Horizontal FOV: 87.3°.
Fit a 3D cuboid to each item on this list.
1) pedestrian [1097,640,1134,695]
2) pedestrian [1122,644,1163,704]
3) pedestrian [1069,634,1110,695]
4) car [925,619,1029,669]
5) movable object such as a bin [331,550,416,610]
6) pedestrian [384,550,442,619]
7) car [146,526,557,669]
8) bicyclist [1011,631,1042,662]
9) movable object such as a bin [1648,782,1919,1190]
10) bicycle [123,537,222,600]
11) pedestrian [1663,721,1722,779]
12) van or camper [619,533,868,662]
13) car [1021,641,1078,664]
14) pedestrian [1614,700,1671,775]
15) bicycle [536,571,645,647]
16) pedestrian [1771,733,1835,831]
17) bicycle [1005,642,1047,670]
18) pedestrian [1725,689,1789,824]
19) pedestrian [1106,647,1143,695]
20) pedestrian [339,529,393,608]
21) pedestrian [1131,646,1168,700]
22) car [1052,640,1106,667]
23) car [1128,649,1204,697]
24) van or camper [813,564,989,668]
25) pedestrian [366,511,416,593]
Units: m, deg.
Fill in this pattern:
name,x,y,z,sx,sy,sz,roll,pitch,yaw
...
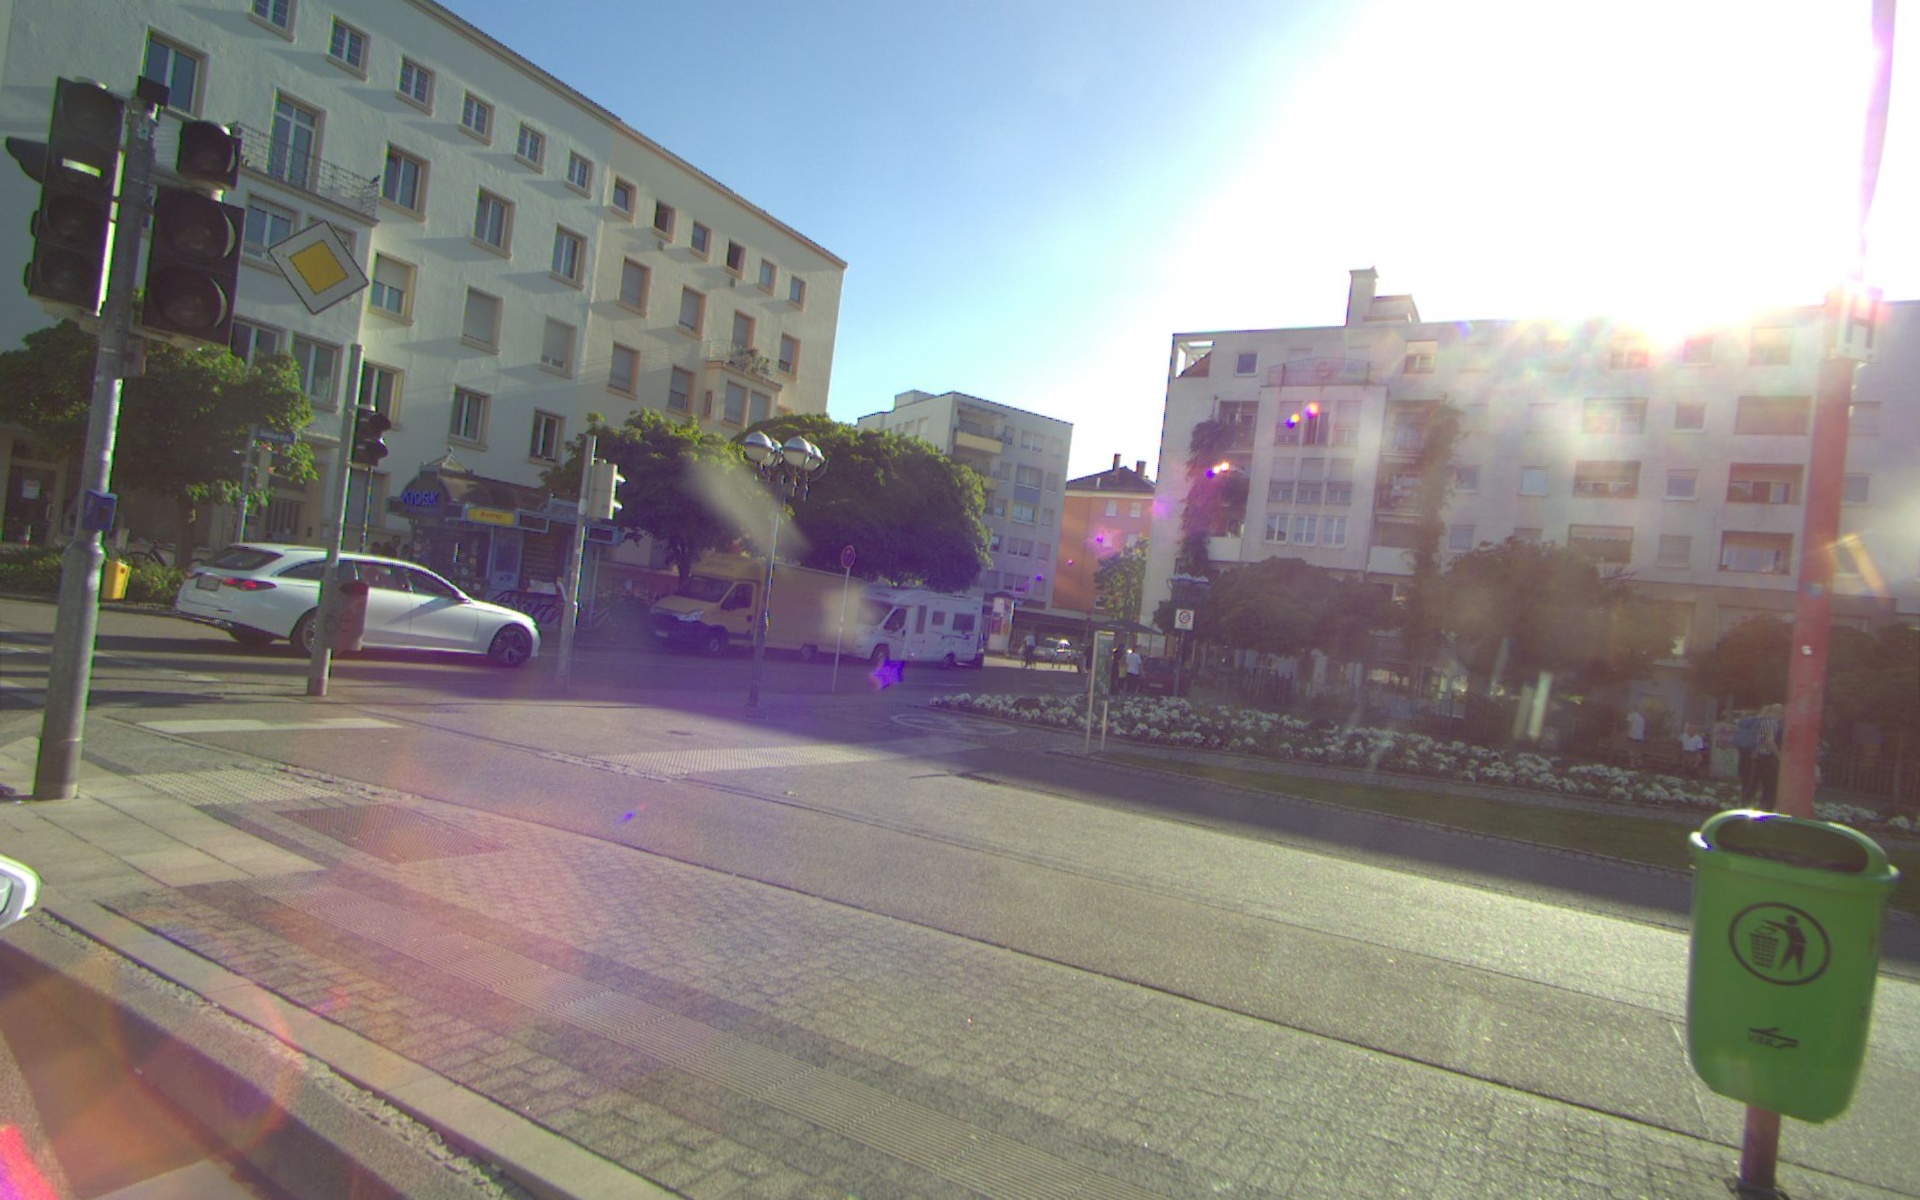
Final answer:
name,x,y,z,sx,sy,sz,roll,pitch,yaw
pedestrian,4.835,2.103,31.278,0.651,1.605,0.902,7,0,35
pedestrian,5.218,2.119,28.705,0.651,1.605,0.902,7,0,35
pedestrian,3.847,1.920,29.851,0.684,1.705,0.902,7,0,35
car,0.734,1.805,40.785,1.974,1.529,3.981,5,-3,43
movable object such as a bin,-13.548,-0.450,23.252,1.197,1.167,1.200,7,-1,32
pedestrian,-12.553,-0.348,23.081,0.742,1.427,0.731,10,2,32
car,-8.725,0.076,14.991,1.957,1.481,4.813,7,-2,28
bicyclist,3.053,2.126,46.236,0.943,1.239,0.927,9,-2,-28
movable object such as a bin,2.095,0.919,2.567,0.481,0.795,0.449,7,0,34
bicycle,-17.112,-0.672,21.885,0.296,1.133,1.565,6,-2,42
pedestrian,18.653,3.808,25.655,0.718,1.287,1.042,7,0,11
van or camper,-5.884,0.082,28.688,2.331,2.780,7.132,8,0,32
car,6.024,3.527,67.519,1.798,1.165,3.986,6,-2,38
pedestrian,17.328,3.477,25.564,0.661,1.745,1.028,7,0,11
bicycle,-8.933,0.247,24.441,0.714,1.548,2.391,7,-3,31
pedestrian,11.067,2.378,13.213,0.550,1.182,0.469,5,-2,40
bicycle,3.005,2.556,46.132,0.713,1.073,2.307,9,-2,-28
pedestrian,11.119,2.170,14.032,0.520,1.765,0.557,6,-1,42
pedestrian,4.770,2.066,29.174,0.595,1.295,0.902,7,-1,35
pedestrian,-14.843,-0.776,25.138,0.668,1.861,0.785,7,0,35
pedestrian,5.940,2.297,31.524,0.651,1.605,0.902,7,0,35
car,8.591,3.858,72.260,1.971,1.514,3.986,6,-2,38
car,8.011,2.815,38.861,1.964,1.503,4.000,7,-1,23
van or camper,-1.882,0.648,34.781,2.340,2.873,6.410,7,-1,35
pedestrian,-13.698,-1.159,24.222,0.649,1.861,0.653,7,0,35
